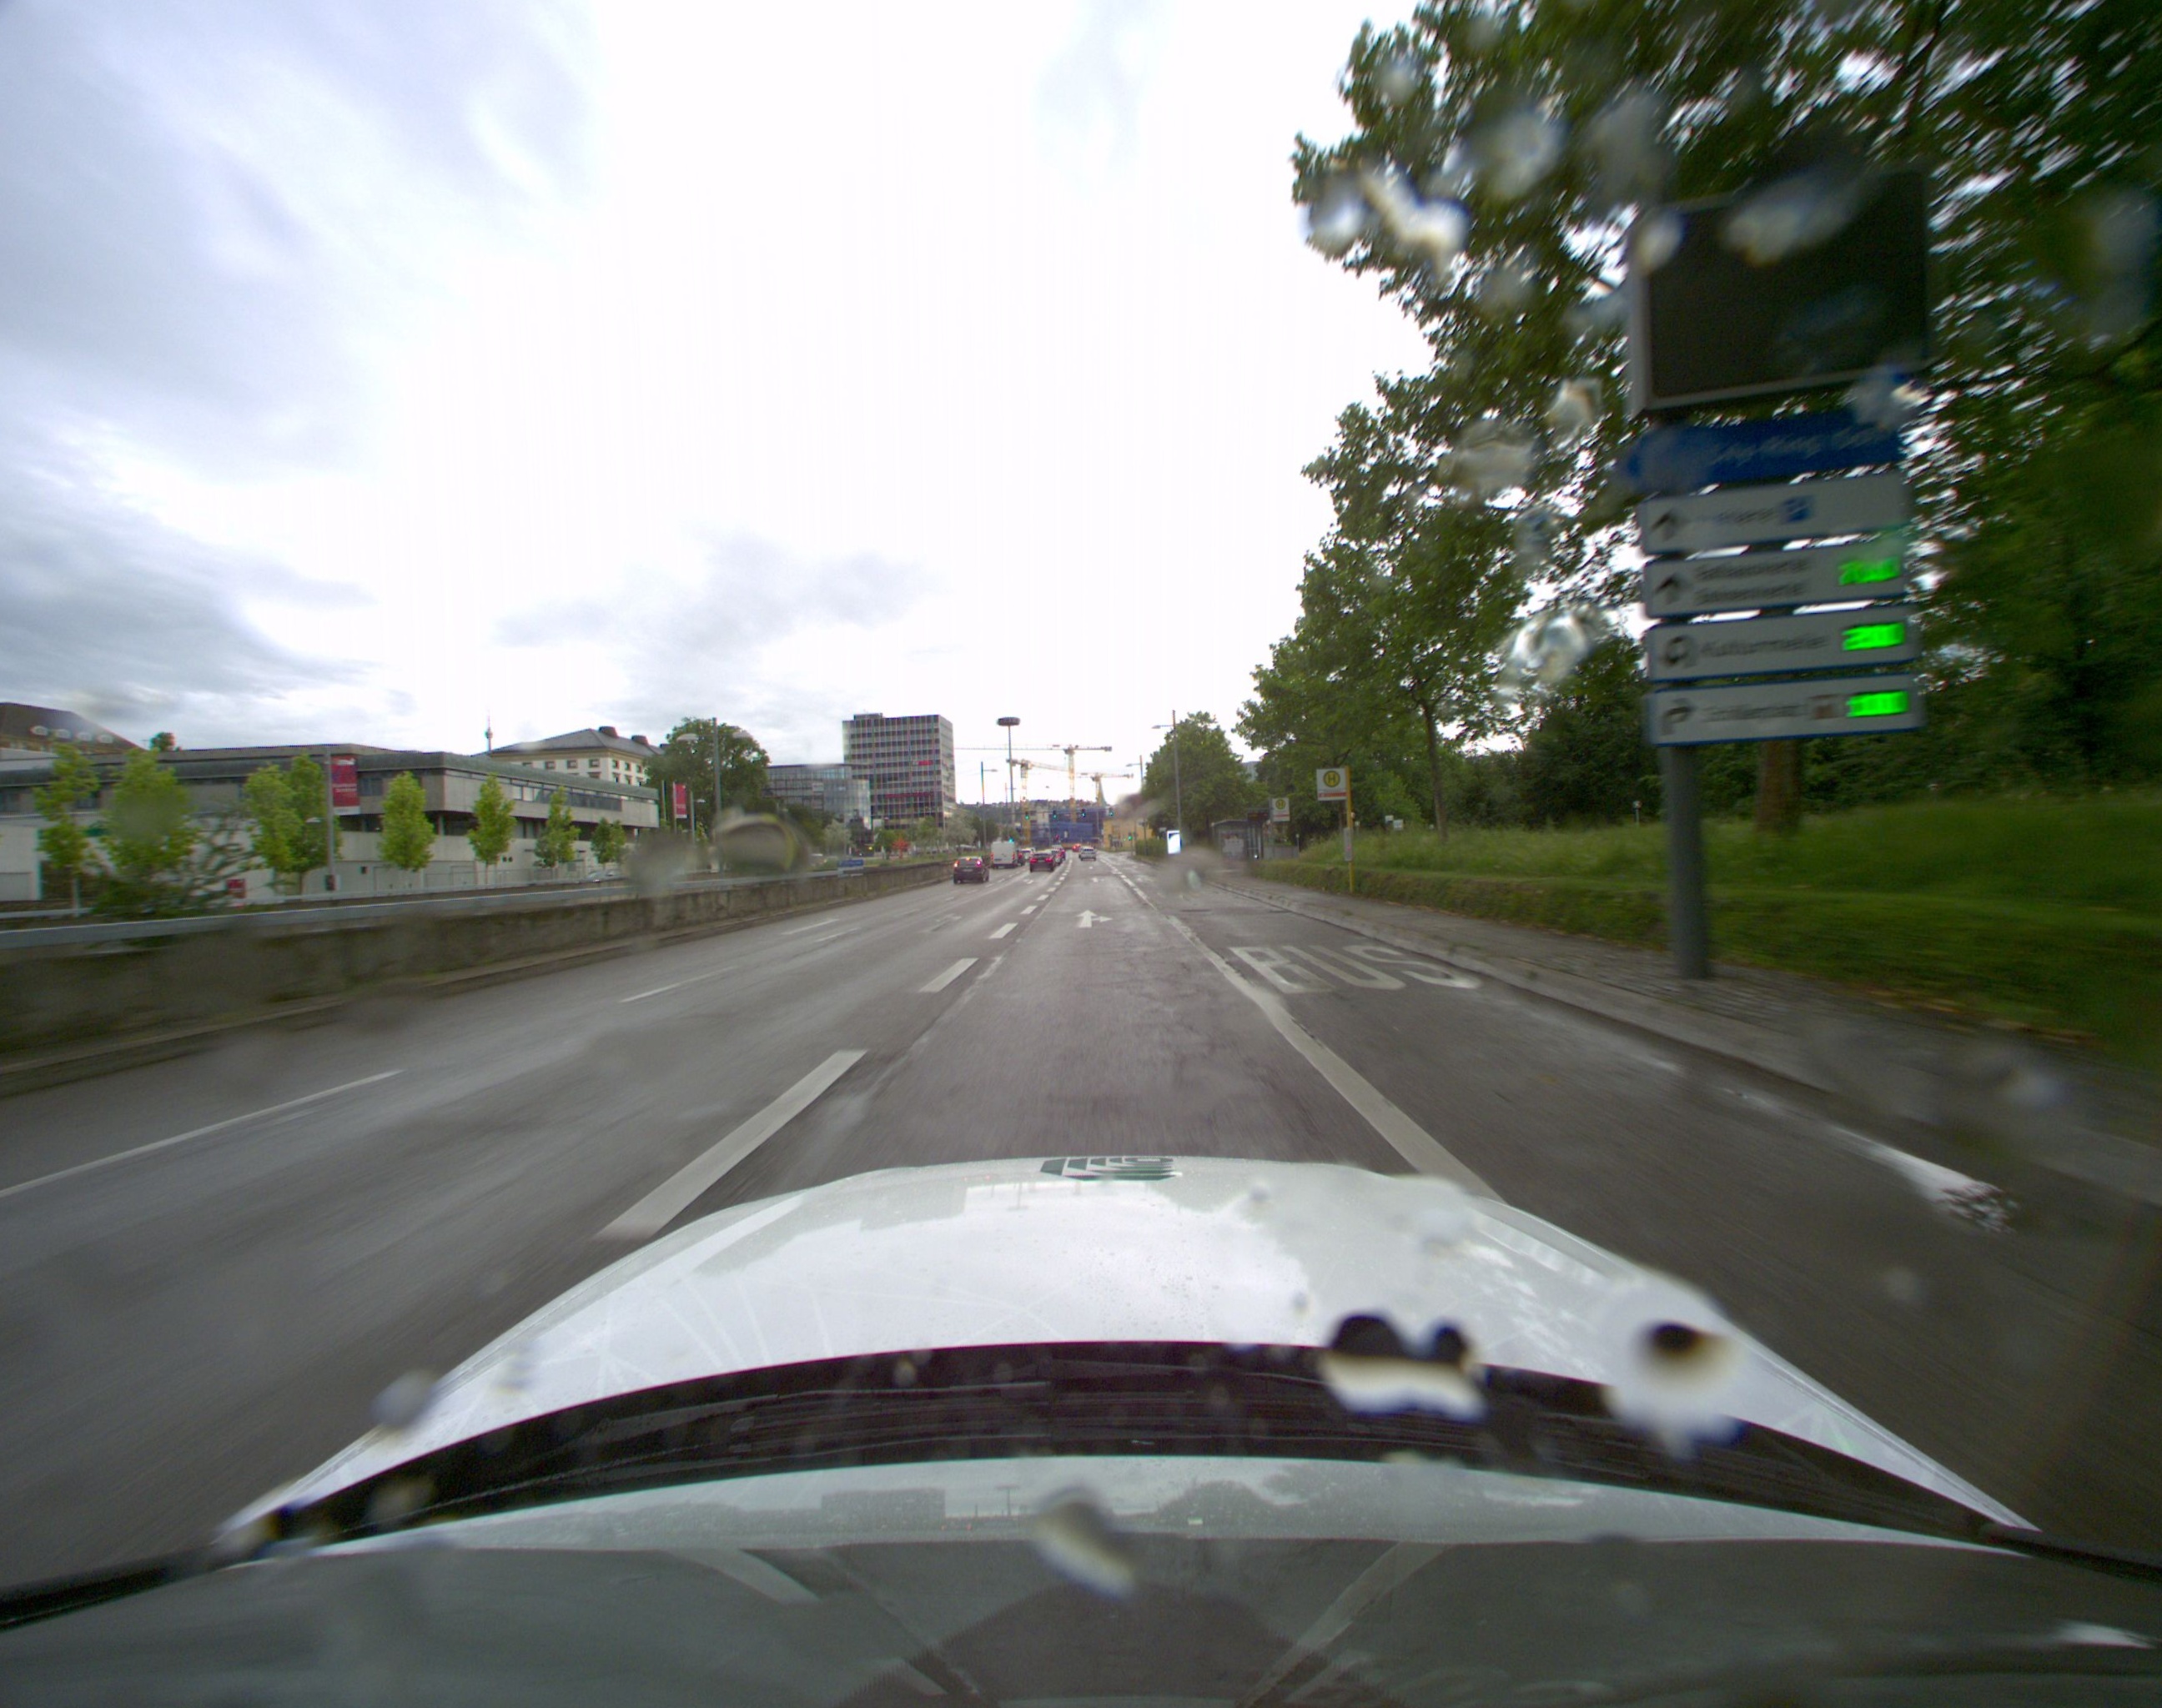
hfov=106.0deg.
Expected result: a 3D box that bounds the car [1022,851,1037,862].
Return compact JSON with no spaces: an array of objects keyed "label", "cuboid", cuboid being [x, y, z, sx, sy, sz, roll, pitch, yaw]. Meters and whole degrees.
[{"label":"car","cuboid":[-5.857,0.291,92.898,1.546,1.260,2.580,-1,-1,0]}]

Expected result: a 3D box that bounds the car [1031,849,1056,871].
[{"label":"car","cuboid":[-2.846,0.419,61.928,1.748,1.471,4.220,-1,1,-1]}]

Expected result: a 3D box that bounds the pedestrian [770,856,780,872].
[{"label":"pedestrian","cuboid":[-40.276,1.342,107.192,0.761,2.090,0.729,0,5,14]}]

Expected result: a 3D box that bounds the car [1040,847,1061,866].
[{"label":"car","cuboid":[-2.907,0.259,76.397,1.876,1.653,3.454,-1,-1,-3]}]

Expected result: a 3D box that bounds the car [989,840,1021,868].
[{"label":"car","cuboid":[-6.583,0.058,71.072,2.285,2.314,5.005,-1,-1,0]}]

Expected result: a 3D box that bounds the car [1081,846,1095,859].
[{"label":"car","cuboid":[0.800,-0.131,91.907,1.438,1.359,2.414,-1,-1,3]}]

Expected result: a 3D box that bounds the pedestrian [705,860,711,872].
[{"label":"pedestrian","cuboid":[-42.002,1.382,91.769,0.466,1.383,0.575,-1,-1,-6]}]

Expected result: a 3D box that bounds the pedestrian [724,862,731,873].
[{"label":"pedestrian","cuboid":[-43.689,1.653,100.700,0.490,1.423,0.633,-1,-1,0]}]

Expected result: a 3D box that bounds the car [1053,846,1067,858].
[{"label":"car","cuboid":[-2.471,-0.247,96.751,1.489,1.369,3.032,-1,-1,0]}]

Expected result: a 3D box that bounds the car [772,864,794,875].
[{"label":"car","cuboid":[-37.111,1.931,101.412,1.402,1.255,3.168,-1,-1,3]}]

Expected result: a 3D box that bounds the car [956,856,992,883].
[{"label":"car","cuboid":[-5.961,0.828,45.639,1.538,1.415,3.900,-1,-1,-1]}]

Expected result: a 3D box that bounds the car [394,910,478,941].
[{"label":"car","cuboid":[-29.994,3.306,37.985,1.483,1.129,3.050,-1,-1,-1]}]

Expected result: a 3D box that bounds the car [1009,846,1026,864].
[{"label":"car","cuboid":[-6.047,0.095,77.599,1.460,1.706,3.138,-1,-1,-2]}]

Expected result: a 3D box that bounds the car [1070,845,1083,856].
[{"label":"car","cuboid":[-0.877,-0.622,155.260,2.152,1.879,3.773,-1,-1,3]}]

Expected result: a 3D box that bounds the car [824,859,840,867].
[{"label":"car","cuboid":[-37.440,1.350,122.524,1.436,1.114,3.019,-1,-1,-1]}]

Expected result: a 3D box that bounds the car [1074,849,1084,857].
[{"label":"car","cuboid":[-0.263,-0.109,104.103,1.072,0.990,1.973,-1,-2,3]}]
